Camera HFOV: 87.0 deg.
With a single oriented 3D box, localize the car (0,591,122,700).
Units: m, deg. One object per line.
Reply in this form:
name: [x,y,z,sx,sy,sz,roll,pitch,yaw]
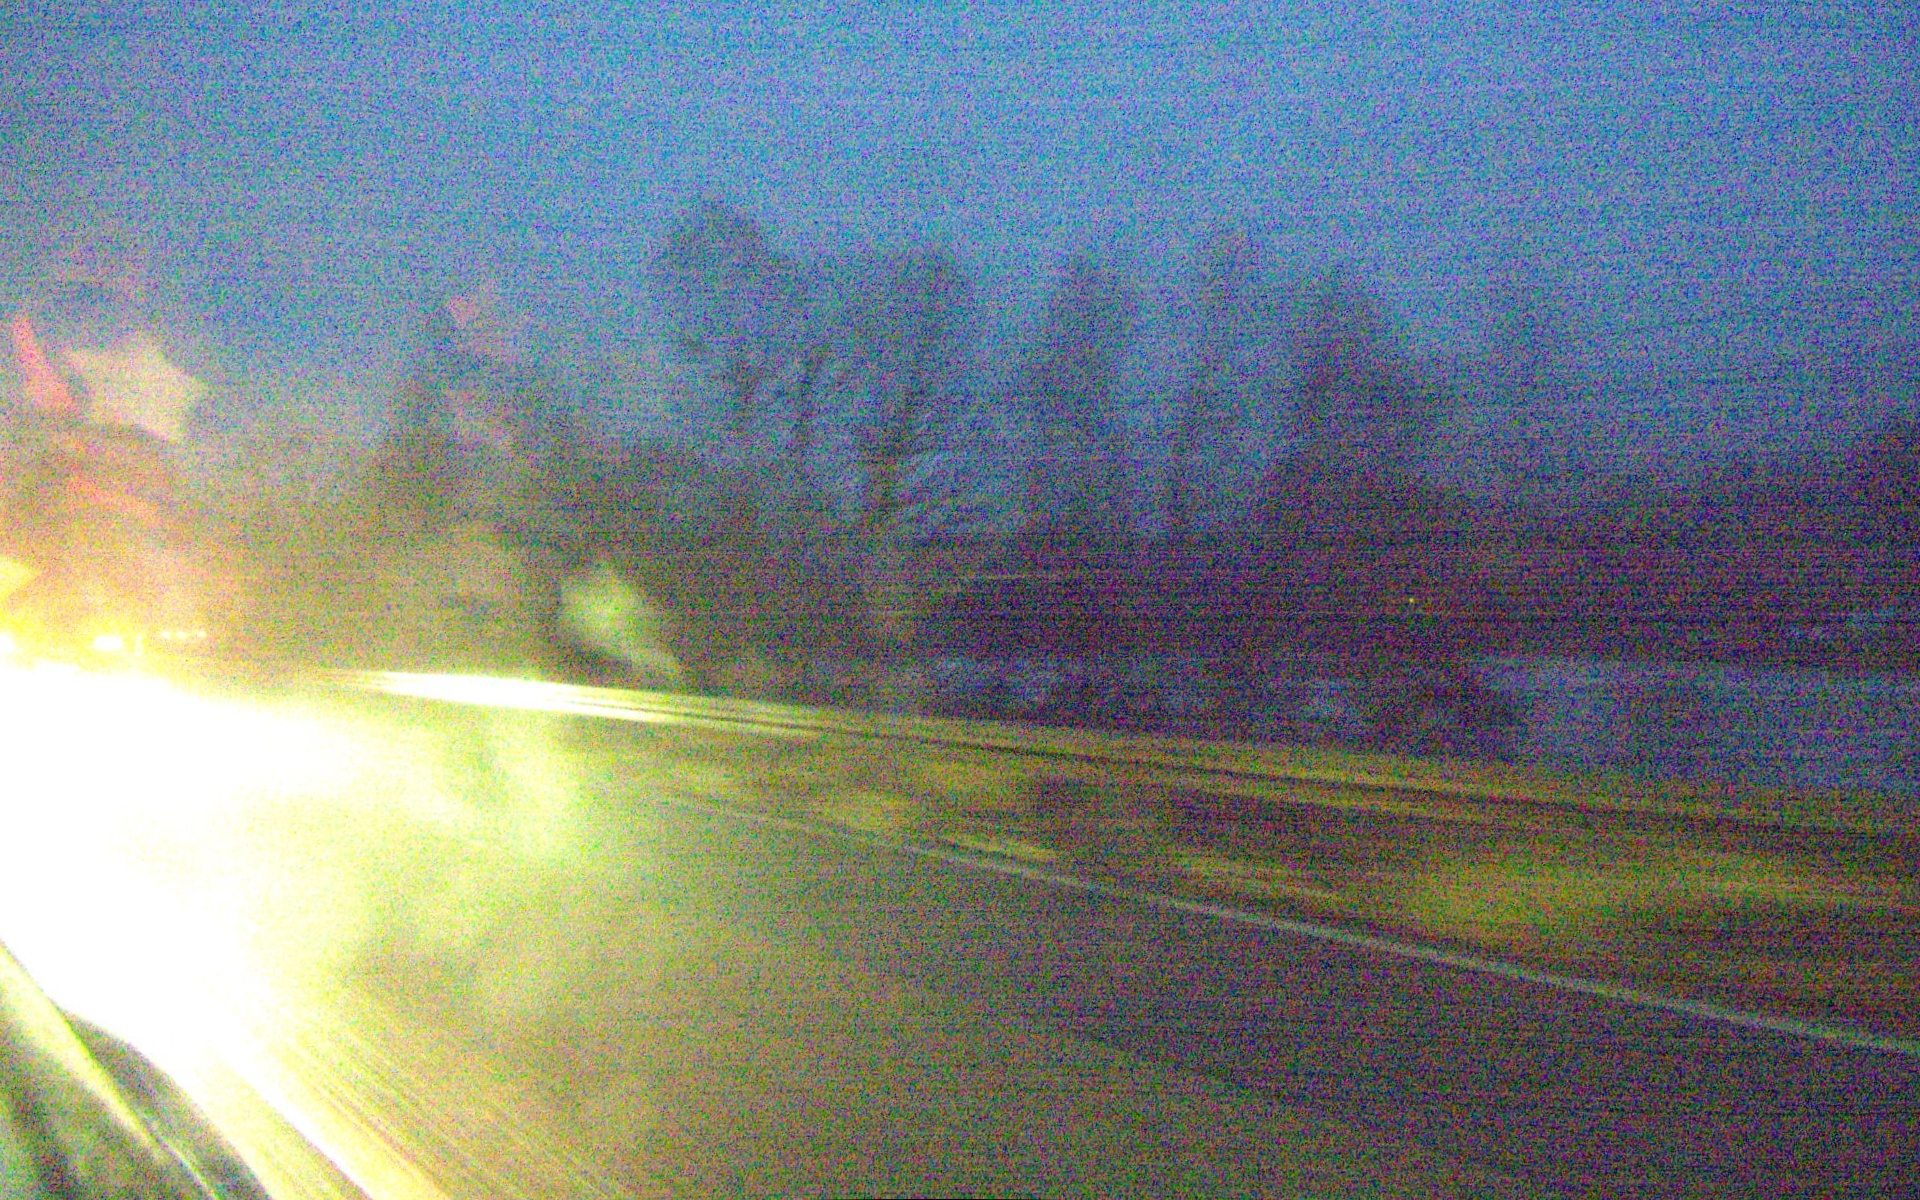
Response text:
car: [-17.403,0.887,19.061,3.997,1.858,1.817,-4,-4,41]
